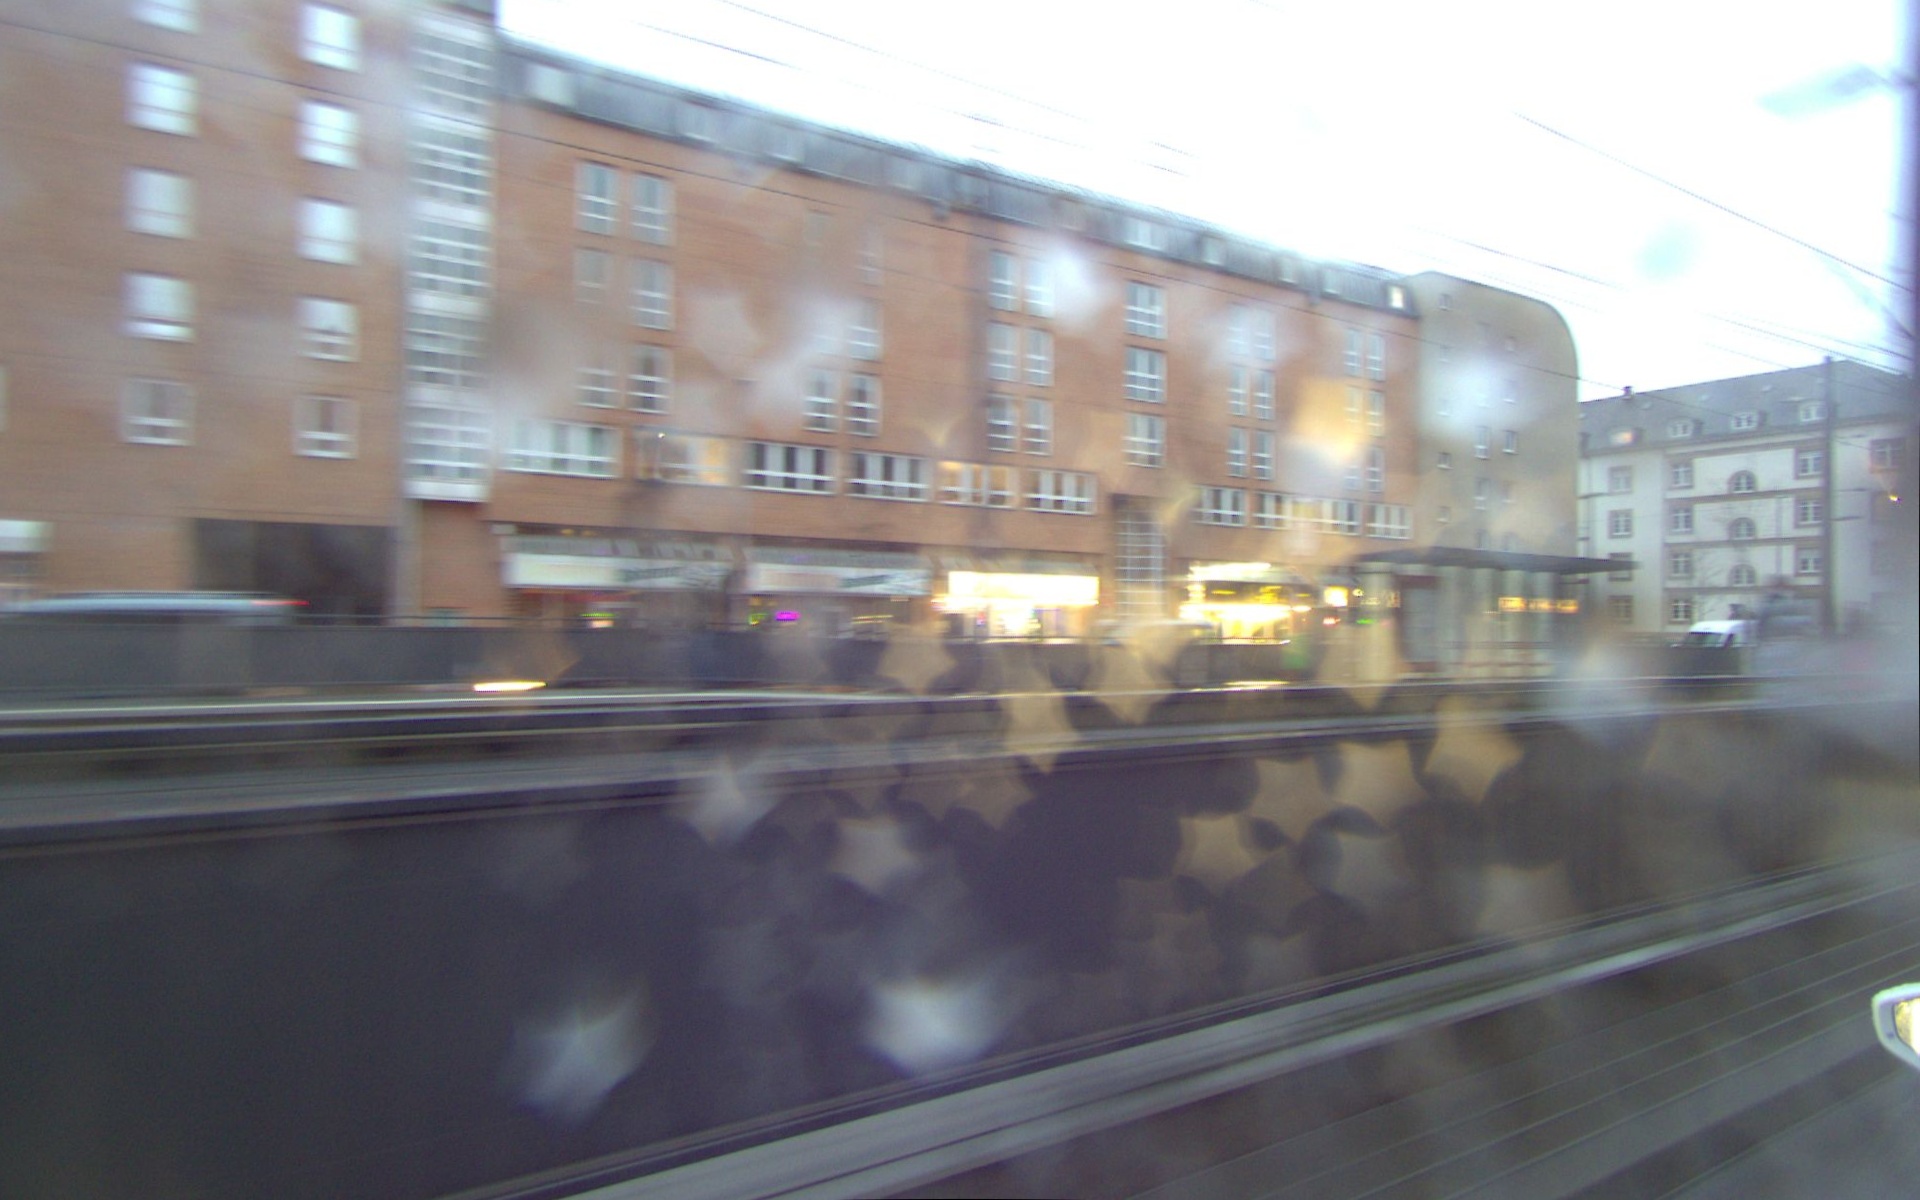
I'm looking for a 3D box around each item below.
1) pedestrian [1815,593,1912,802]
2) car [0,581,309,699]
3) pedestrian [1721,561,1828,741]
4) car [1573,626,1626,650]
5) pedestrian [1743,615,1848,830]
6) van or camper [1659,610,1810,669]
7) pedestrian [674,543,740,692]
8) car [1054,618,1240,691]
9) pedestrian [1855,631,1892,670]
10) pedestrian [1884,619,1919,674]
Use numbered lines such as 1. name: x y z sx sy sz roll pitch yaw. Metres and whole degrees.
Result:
1. pedestrian: 7.685 0.804 8.550 0.557 1.701 0.478 1 -1 -31
2. car: -10.566 0.494 12.956 3.504 1.372 1.674 2 -1 -30
3. pedestrian: 7.629 0.464 9.415 0.615 1.611 0.615 1 -1 -31
4. car: 39.560 2.333 62.097 4.111 1.449 1.588 2 -2 -40
5. pedestrian: 6.549 0.925 7.877 0.557 1.611 0.478 1 -1 -31
6. van or camper: 37.813 1.930 49.043 6.654 2.718 2.768 1 0 -21
7. pedestrian: -3.355 0.239 13.407 0.780 1.911 0.882 1 -1 -12
8. car: 3.924 1.111 21.058 3.504 1.372 1.811 2 -1 -30
9. pedestrian: 26.989 1.483 29.686 0.597 1.117 0.591 1 0 20
10. pedestrian: 27.556 1.347 29.298 0.624 1.544 0.756 1 0 20
